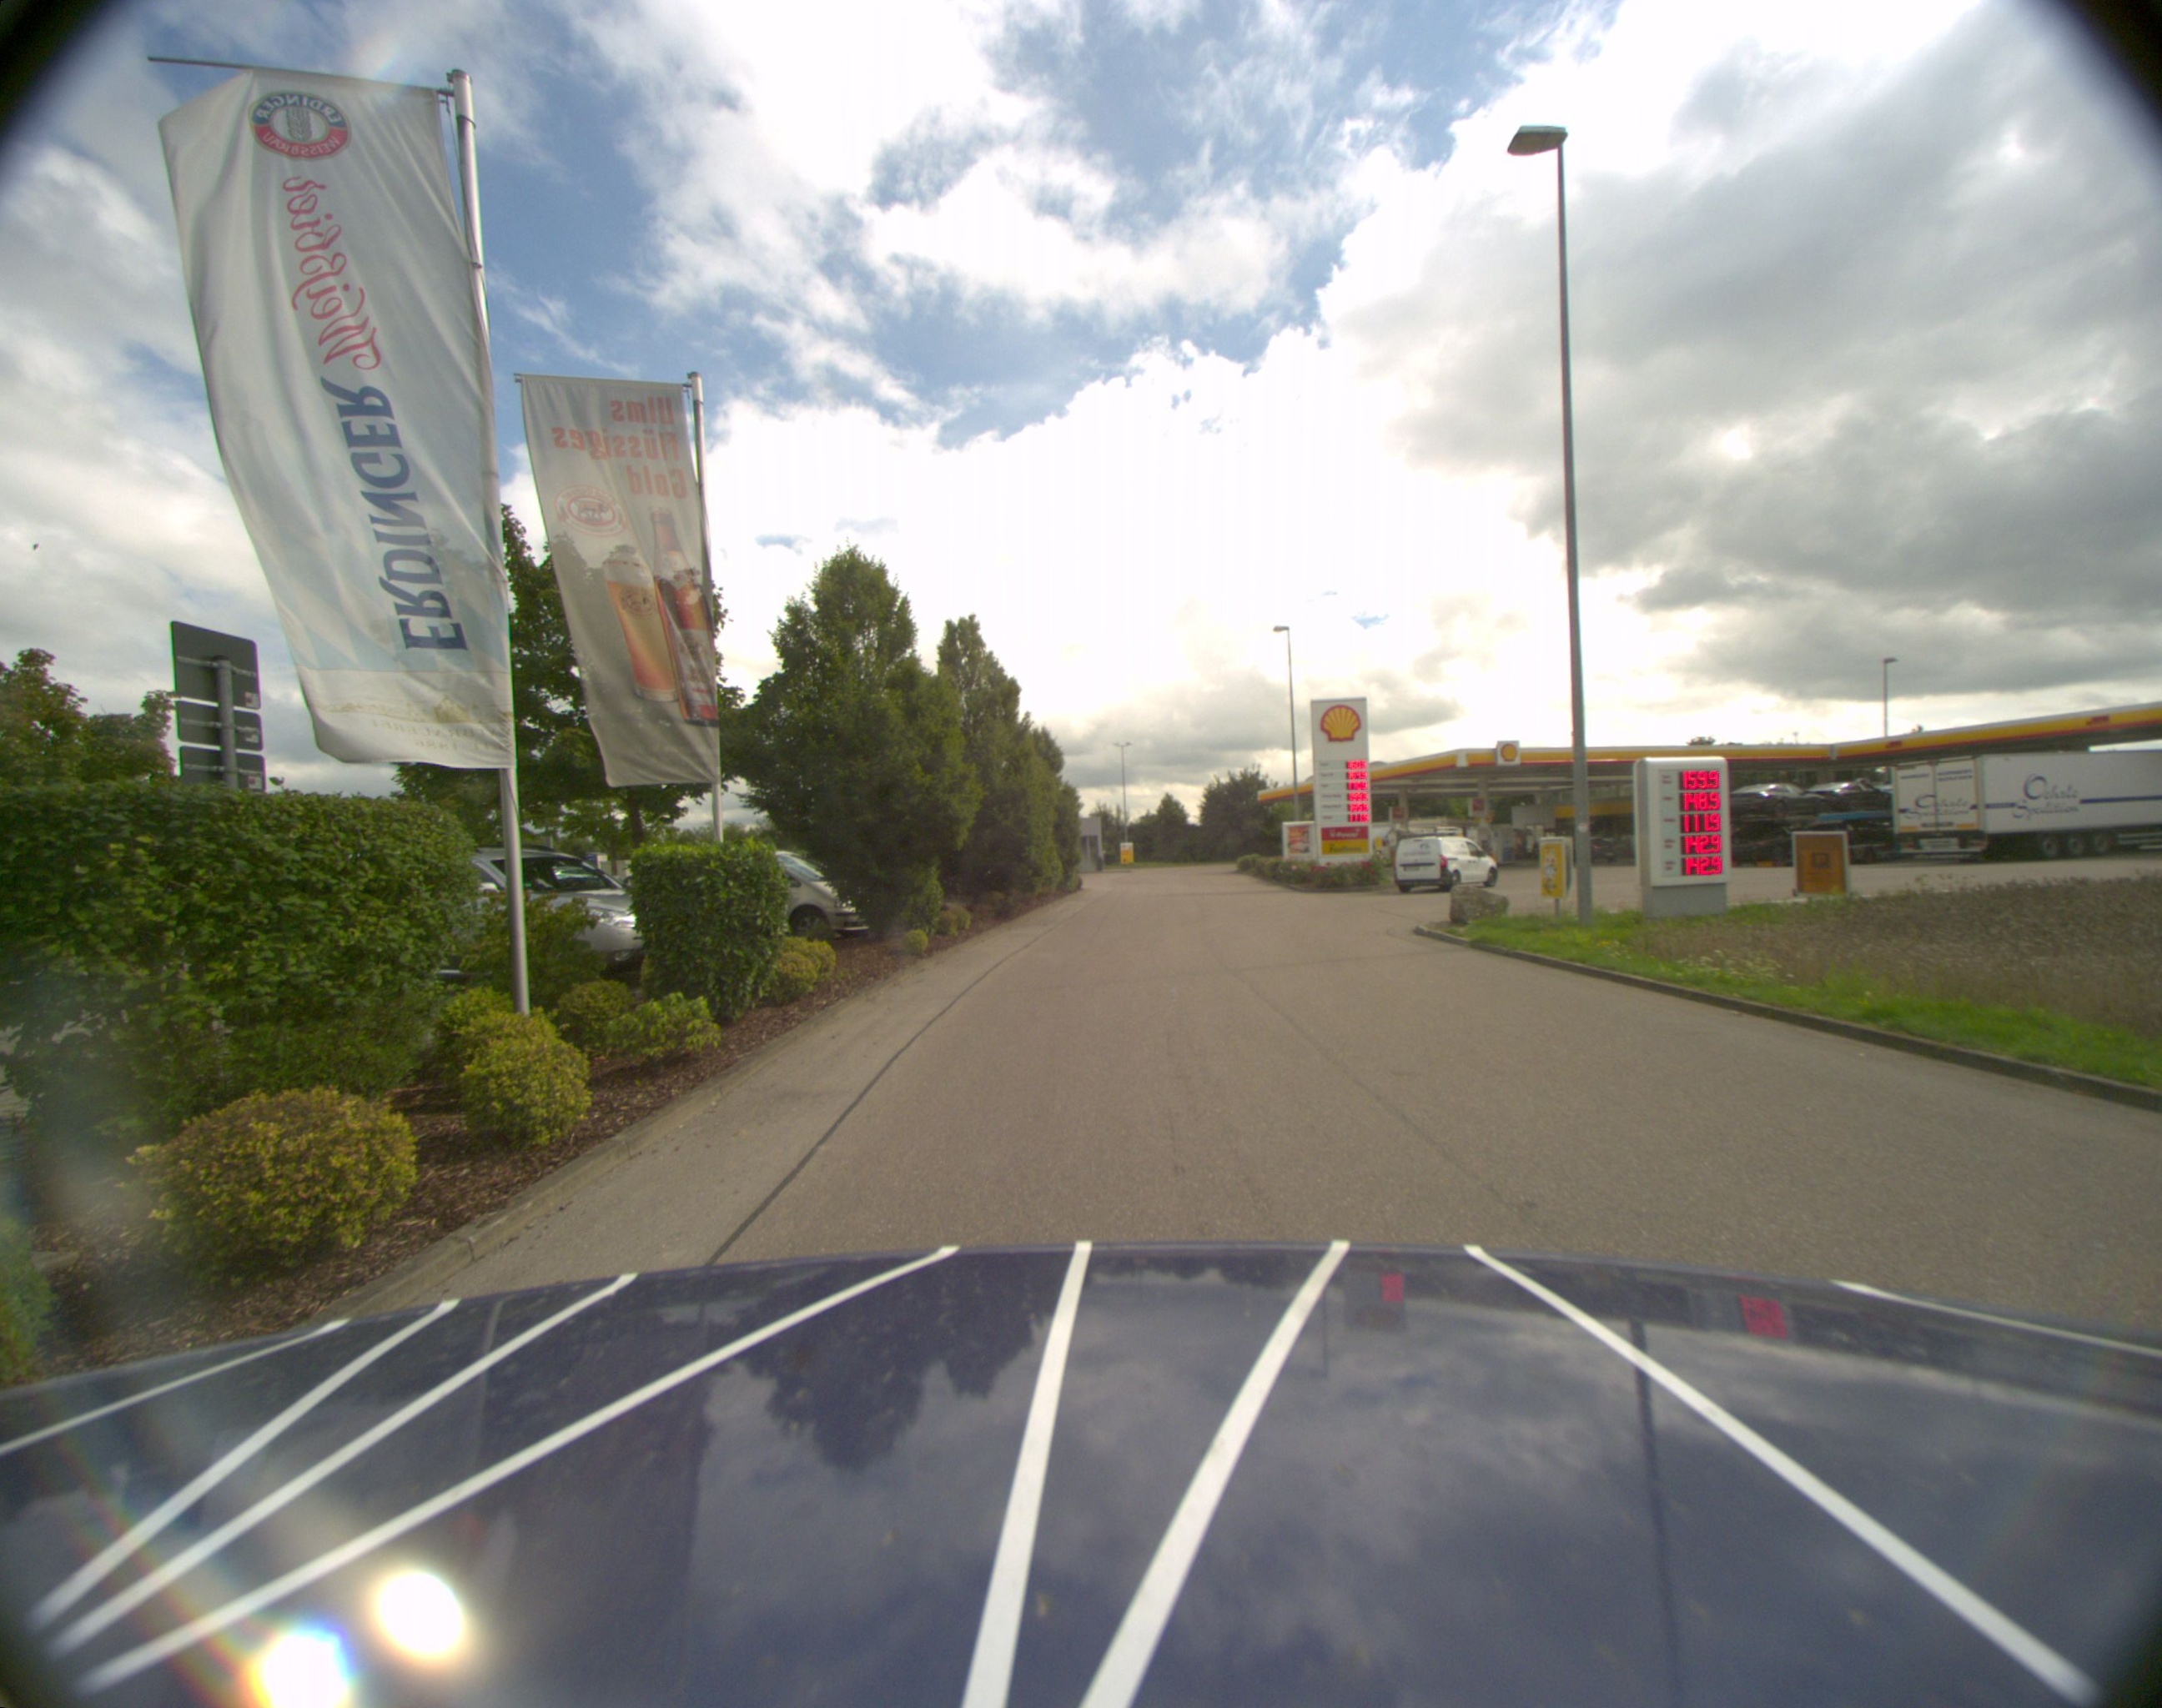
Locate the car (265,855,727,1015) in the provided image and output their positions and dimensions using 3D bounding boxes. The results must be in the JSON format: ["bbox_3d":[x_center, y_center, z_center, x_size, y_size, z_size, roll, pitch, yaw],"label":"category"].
[{"bbox_3d":[-7.190,0.917,9.554,4.672,1.687,1.920,-1,1,11],"label":"car"}]

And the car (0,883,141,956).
[{"bbox_3d":[-22.799,1.401,16.007,4.271,1.338,1.722,-2,0,7],"label":"car"}]

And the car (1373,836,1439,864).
[{"bbox_3d":[19.923,-0.272,46.490,3.968,1.550,1.995,-2,0,-38],"label":"car"}]

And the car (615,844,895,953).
[{"bbox_3d":[-5.824,0.779,13.818,4.358,1.706,1.658,-2,0,7],"label":"car"}]

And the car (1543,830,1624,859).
[{"bbox_3d":[29.658,-0.534,44.974,1.717,1.592,3.757,-3,0,-13],"label":"car"}]

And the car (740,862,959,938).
[{"bbox_3d":[-4.762,0.937,15.957,3.995,1.342,1.726,-2,0,5],"label":"car"}]

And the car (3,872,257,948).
[{"bbox_3d":[-22.737,1.311,18.268,3.994,1.561,2.001,-2,0,8],"label":"car"}]

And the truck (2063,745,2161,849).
[{"bbox_3d":[45.157,-2.354,31.326,7.170,4.001,2.710,-2,0,-11],"label":"truck"}]

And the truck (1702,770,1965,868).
[{"bbox_3d":[34.153,-1.680,34.339,13.268,3.901,2.747,-3,2,-18],"label":"truck"}]

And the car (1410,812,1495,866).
[{"bbox_3d":[20.909,-0.867,42.656,5.819,2.770,2.218,-2,0,-42],"label":"car"}]

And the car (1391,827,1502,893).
[{"bbox_3d":[12.163,0.161,25.195,3.888,2.000,1.792,-2,0,-40],"label":"car"}]

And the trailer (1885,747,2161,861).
[{"bbox_3d":[38.629,-2.006,30.108,12.849,4.001,2.710,-2,0,-11],"label":"trailer"}]
